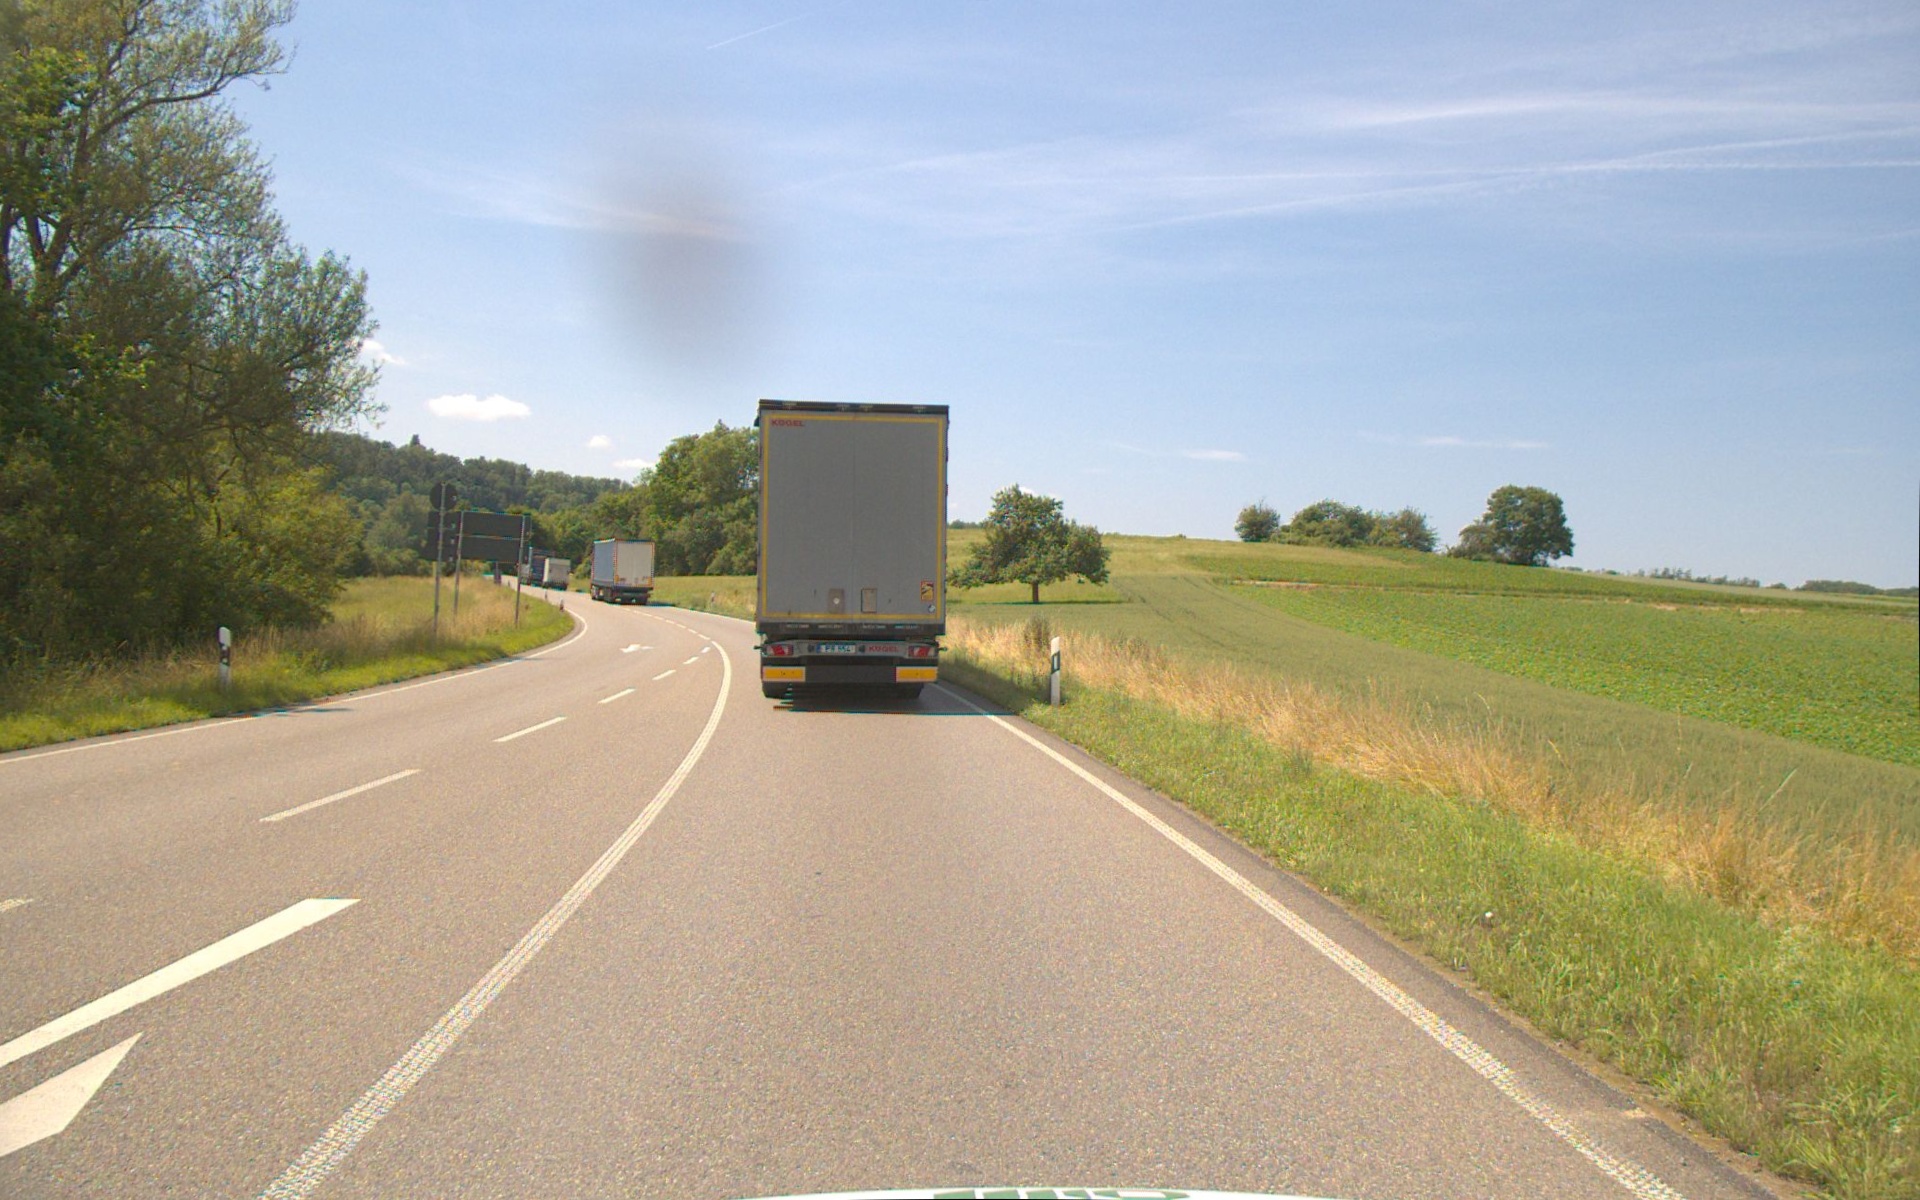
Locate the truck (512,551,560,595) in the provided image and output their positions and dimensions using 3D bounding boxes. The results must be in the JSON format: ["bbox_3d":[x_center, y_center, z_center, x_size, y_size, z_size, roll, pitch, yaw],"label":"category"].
[{"bbox_3d":[-47.141,-2.927,183.663,3.479,4.315,13.320,4,-2,-21],"label":"truck"}]

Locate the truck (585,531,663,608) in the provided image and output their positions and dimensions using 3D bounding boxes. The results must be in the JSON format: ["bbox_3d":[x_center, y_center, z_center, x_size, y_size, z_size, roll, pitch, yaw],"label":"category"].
[{"bbox_3d":[-22.783,-1.938,111.313,2.916,4.664,16.226,3,-1,-19],"label":"truck"}]

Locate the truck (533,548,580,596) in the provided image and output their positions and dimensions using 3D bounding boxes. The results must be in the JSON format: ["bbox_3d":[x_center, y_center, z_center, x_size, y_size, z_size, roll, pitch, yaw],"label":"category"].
[{"bbox_3d":[-40.922,-2.753,167.282,3.580,4.201,13.032,4,-2,-17],"label":"truck"}]

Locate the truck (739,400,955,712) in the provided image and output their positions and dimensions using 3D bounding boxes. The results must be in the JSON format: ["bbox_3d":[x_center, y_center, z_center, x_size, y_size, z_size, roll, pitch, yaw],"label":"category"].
[{"bbox_3d":[-2.019,-0.568,26.331,2.754,4.015,9.576,1,0,-7],"label":"truck"}]
